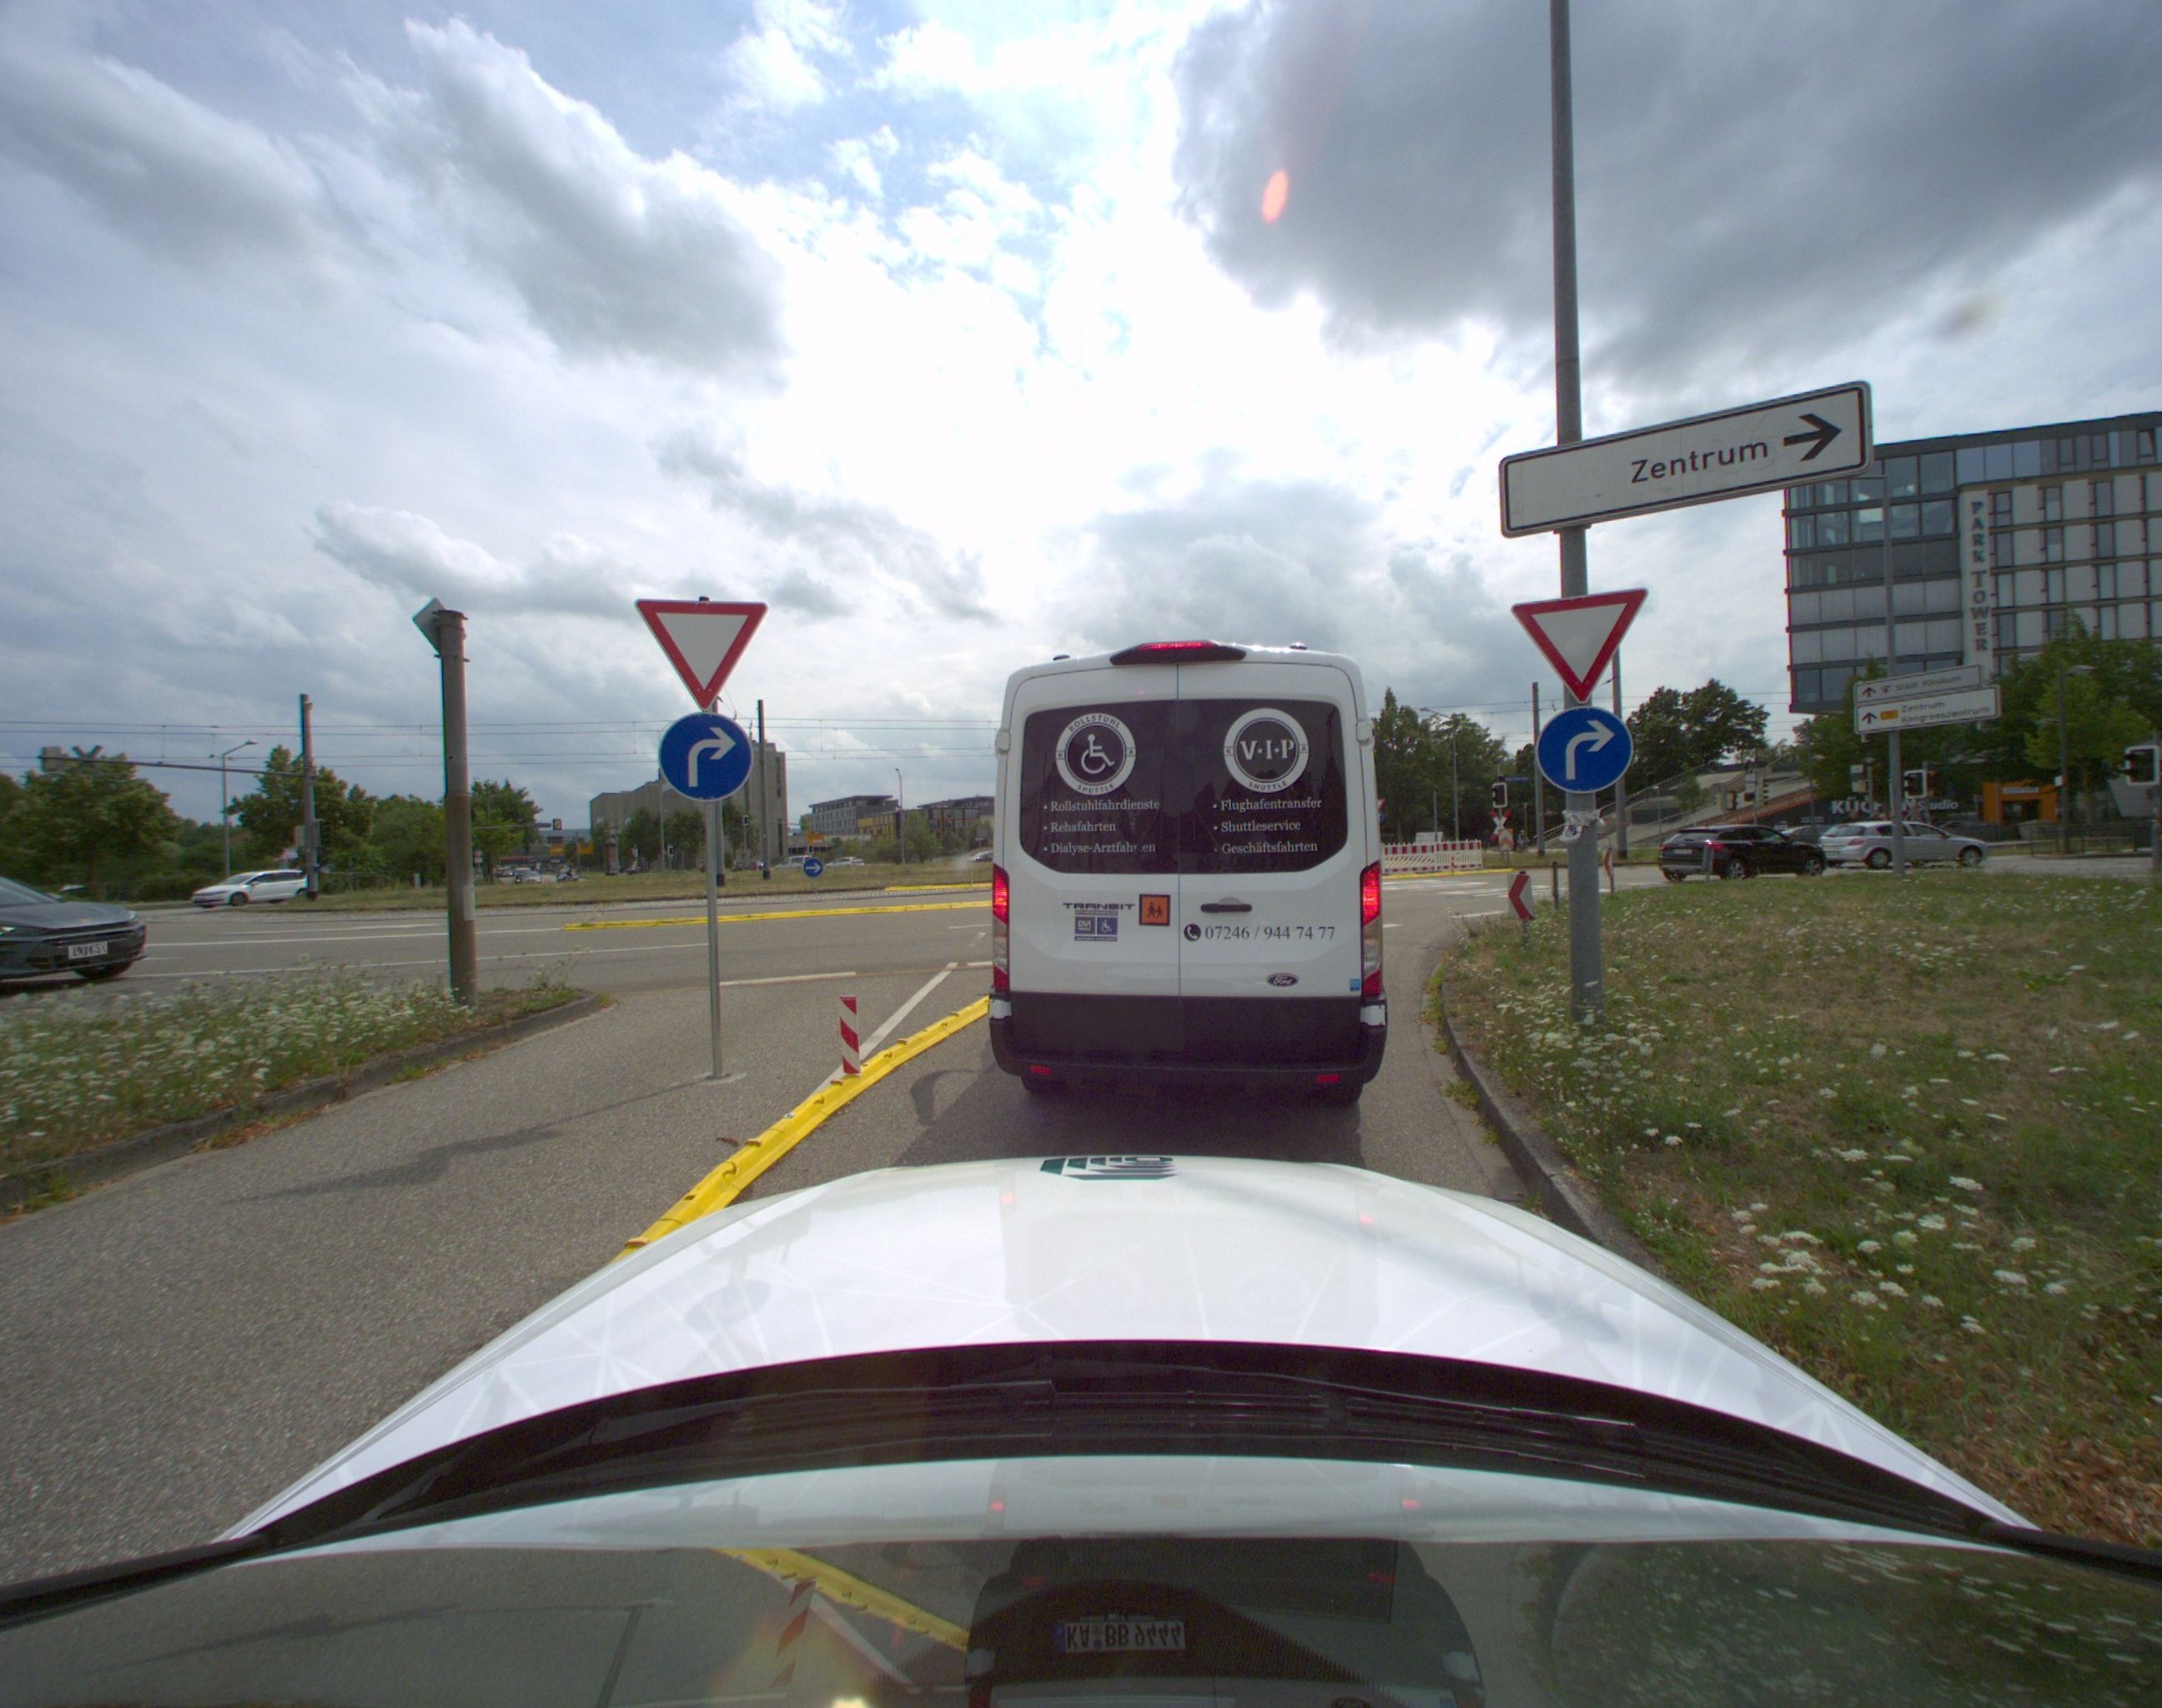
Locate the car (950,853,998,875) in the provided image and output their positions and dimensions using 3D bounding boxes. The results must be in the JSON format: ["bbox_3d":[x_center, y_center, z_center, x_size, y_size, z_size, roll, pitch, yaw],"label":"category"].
[{"bbox_3d":[-10.118,0.958,76.840,4.015,2.014,1.979,0,-1,-33],"label":"car"}]

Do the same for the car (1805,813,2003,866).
[{"bbox_3d":[25.453,-0.441,25.317,4.229,1.462,1.832,-2,1,2],"label":"car"}]

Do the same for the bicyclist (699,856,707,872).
[{"bbox_3d":[-39.048,1.028,84.034,0.650,1.558,0.527,-2,0,-19],"label":"bicyclist"}]

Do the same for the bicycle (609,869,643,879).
[{"bbox_3d":[-43.230,1.886,77.390,0.853,0.855,2.676,-2,1,36],"label":"bicycle"}]

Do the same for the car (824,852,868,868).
[{"bbox_3d":[-23.474,0.627,81.305,3.952,1.463,1.843,-1,-1,23],"label":"car"}]

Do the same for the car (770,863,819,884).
[{"bbox_3d":[-27.699,1.884,78.692,4.307,2.014,2.012,-1,-1,25],"label":"car"}]

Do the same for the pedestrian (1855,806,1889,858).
[{"bbox_3d":[27.899,-0.765,28.731,0.628,1.781,0.554,-2,1,6],"label":"pedestrian"}]

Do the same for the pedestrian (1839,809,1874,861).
[{"bbox_3d":[27.219,-0.662,28.578,0.684,1.781,0.554,-2,1,6],"label":"pedestrian"}]

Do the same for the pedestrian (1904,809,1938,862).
[{"bbox_3d":[28.689,-0.625,27.827,0.575,1.781,0.554,-2,1,6],"label":"pedestrian"}]

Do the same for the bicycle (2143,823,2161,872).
[{"bbox_3d":[26.836,-0.162,19.802,0.781,1.168,2.054,-2,0,40],"label":"bicycle"}]

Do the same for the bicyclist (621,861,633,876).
[{"bbox_3d":[-43.195,1.371,77.467,0.853,1.409,0.678,-2,0,36],"label":"bicyclist"}]

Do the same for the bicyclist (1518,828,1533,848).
[{"bbox_3d":[30.468,-1.111,55.794,0.635,1.317,0.675,-2,1,2],"label":"bicyclist"}]

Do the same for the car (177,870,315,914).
[{"bbox_3d":[-40.767,1.810,39.932,1.922,1.665,4.364,-3,2,6],"label":"car"}]

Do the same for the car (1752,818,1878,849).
[{"bbox_3d":[39.293,-1.098,43.709,4.689,1.458,1.855,-2,1,13],"label":"car"}]

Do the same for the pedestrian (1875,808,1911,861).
[{"bbox_3d":[28.004,-0.662,28.090,0.684,1.781,0.554,-2,1,6],"label":"pedestrian"}]

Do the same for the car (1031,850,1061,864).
[{"bbox_3d":[-3.897,0.323,90.905,1.811,1.463,4.022,-2,0,23],"label":"car"}]

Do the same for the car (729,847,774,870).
[{"bbox_3d":[-30.010,0.427,74.159,3.948,2.014,2.013,-2,-1,36],"label":"car"}]

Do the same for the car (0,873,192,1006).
[{"bbox_3d":[-15.328,1.142,10.965,4.442,1.551,2.066,-2,1,2],"label":"car"}]

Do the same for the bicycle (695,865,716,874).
[{"bbox_3d":[-38.764,1.601,84.128,1.834,0.877,0.527,-2,0,-19],"label":"bicycle"}]

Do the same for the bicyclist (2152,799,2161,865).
[{"bbox_3d":[26.718,-0.546,19.680,0.781,1.627,1.055,-2,0,41],"label":"bicyclist"}]

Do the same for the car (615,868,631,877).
[{"bbox_3d":[-87.488,3.488,155.511,1.915,1.519,3.952,-2,1,-41],"label":"car"}]

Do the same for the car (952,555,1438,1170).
[{"bbox_3d":[0.905,0.042,6.505,2.114,2.697,5.646,-2,0,9],"label":"car"}]

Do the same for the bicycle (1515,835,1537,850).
[{"bbox_3d":[30.462,-0.816,55.766,0.649,1.007,1.758,-2,1,4],"label":"bicycle"}]

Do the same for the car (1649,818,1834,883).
[{"bbox_3d":[17.368,-0.111,21.457,4.142,1.519,1.732,-2,1,-16],"label":"car"}]

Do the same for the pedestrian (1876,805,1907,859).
[{"bbox_3d":[28.504,-0.774,28.643,0.527,1.862,0.554,-2,1,6],"label":"pedestrian"}]
